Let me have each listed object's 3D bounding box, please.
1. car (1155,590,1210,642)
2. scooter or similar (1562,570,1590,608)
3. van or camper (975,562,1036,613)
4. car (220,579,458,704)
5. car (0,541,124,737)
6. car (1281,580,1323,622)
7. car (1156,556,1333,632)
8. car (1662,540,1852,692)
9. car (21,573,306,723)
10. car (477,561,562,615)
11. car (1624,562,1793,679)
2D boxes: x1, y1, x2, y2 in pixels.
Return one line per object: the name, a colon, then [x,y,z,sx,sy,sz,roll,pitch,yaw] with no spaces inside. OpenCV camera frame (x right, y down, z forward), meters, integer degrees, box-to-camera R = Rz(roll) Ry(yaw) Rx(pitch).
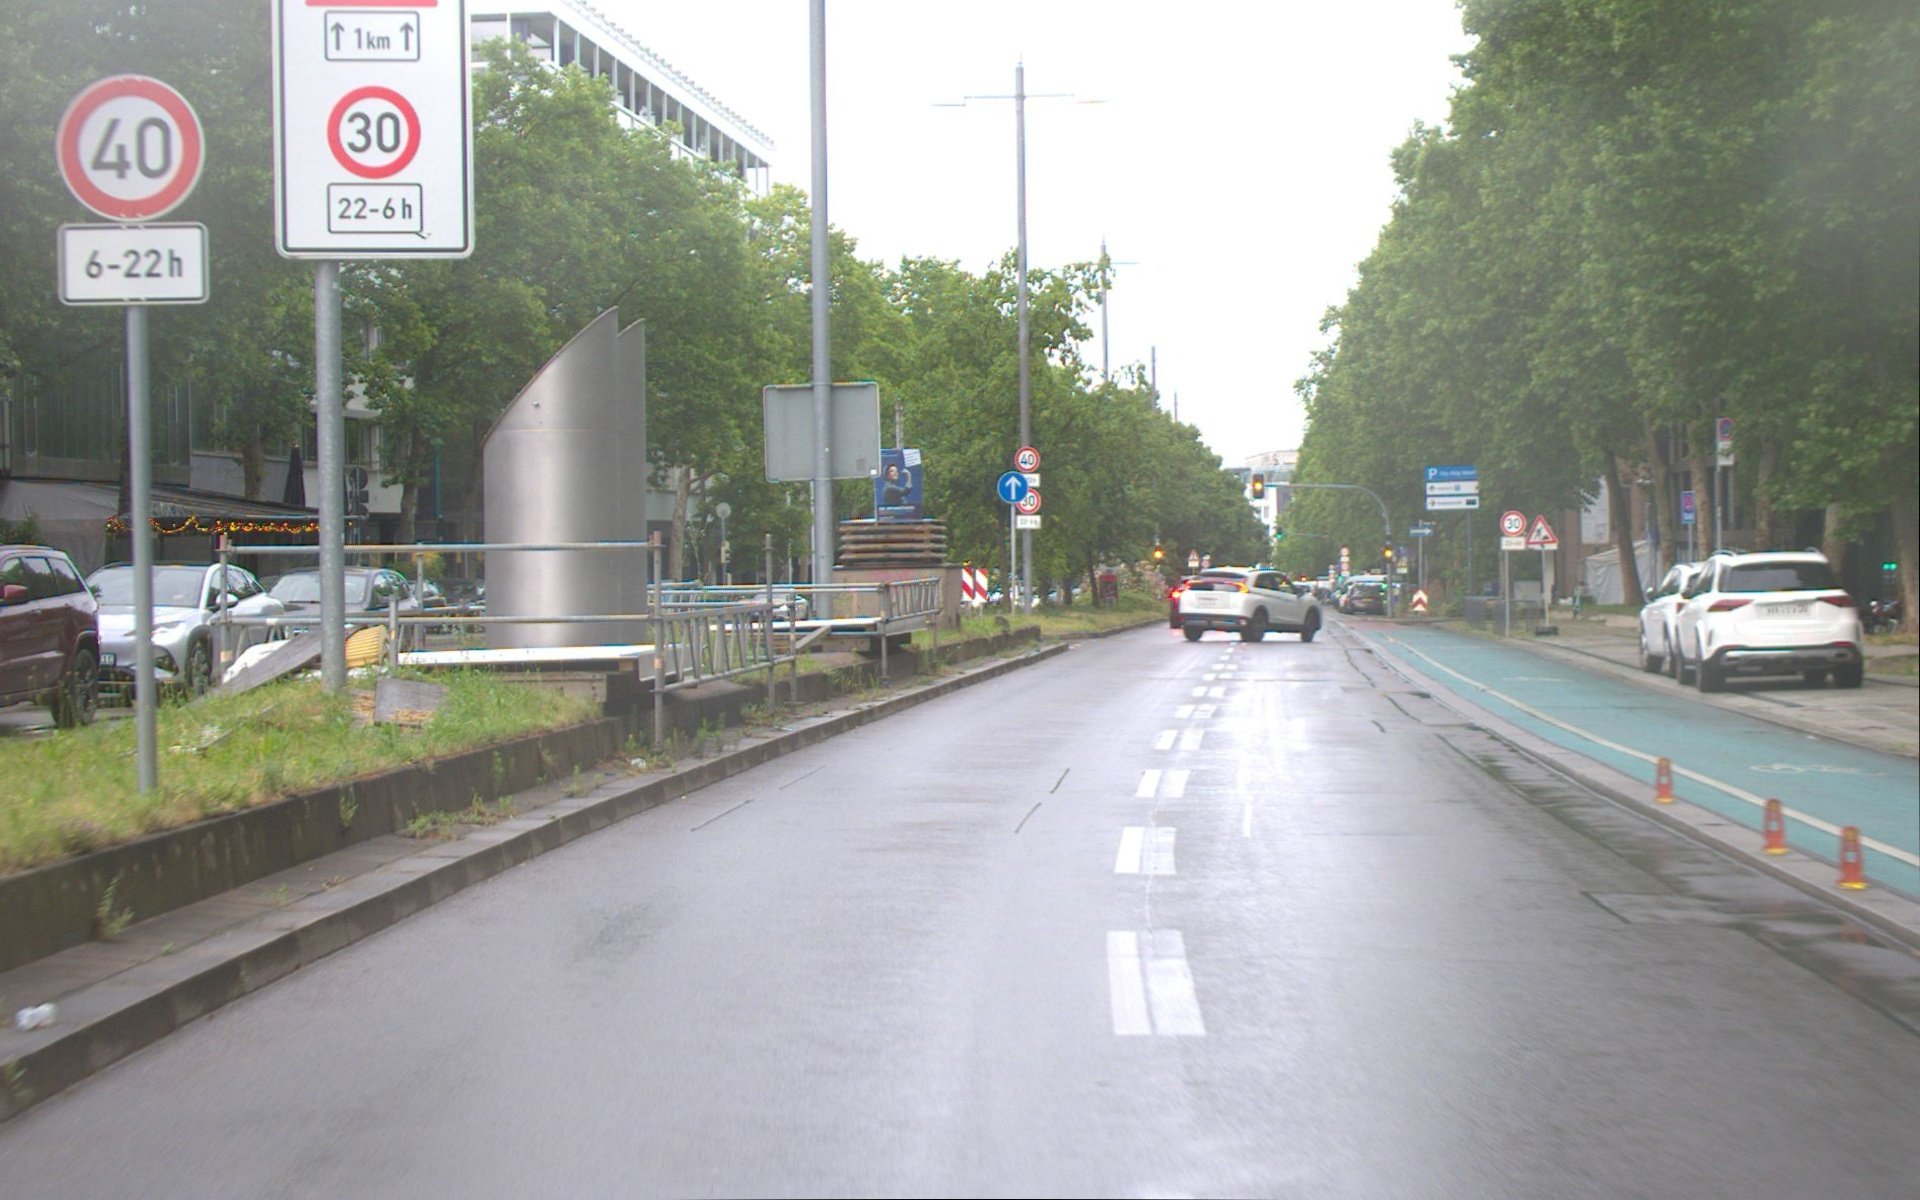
car: [6.615,0.467,102.332,1.620,1.466,4.000,0,1,4]
scooter or similar: [20.100,-0.359,112.119,0.381,1.224,1.076,0,0,42]
van or camper: [1.810,-0.505,134.859,1.994,1.907,5.250,0,1,5]
car: [-8.326,0.522,46.500,1.914,1.547,4.540,0,1,7]
car: [-9.470,0.336,32.016,1.836,1.760,5.108,0,1,3]
car: [13.813,0.029,138.847,1.621,1.660,3.999,-1,1,5]
car: [6.483,-0.160,77.816,1.997,1.649,4.880,0,1,32]
car: [10.338,0.158,44.896,1.844,1.832,5.092,-2,1,7]
car: [-9.056,0.500,39.490,1.735,1.568,4.831,0,1,5]
car: [-12.450,-0.352,97.411,1.693,1.463,3.459,0,1,5]
car: [11.057,0.259,51.091,1.844,1.627,4.786,0,1,5]
